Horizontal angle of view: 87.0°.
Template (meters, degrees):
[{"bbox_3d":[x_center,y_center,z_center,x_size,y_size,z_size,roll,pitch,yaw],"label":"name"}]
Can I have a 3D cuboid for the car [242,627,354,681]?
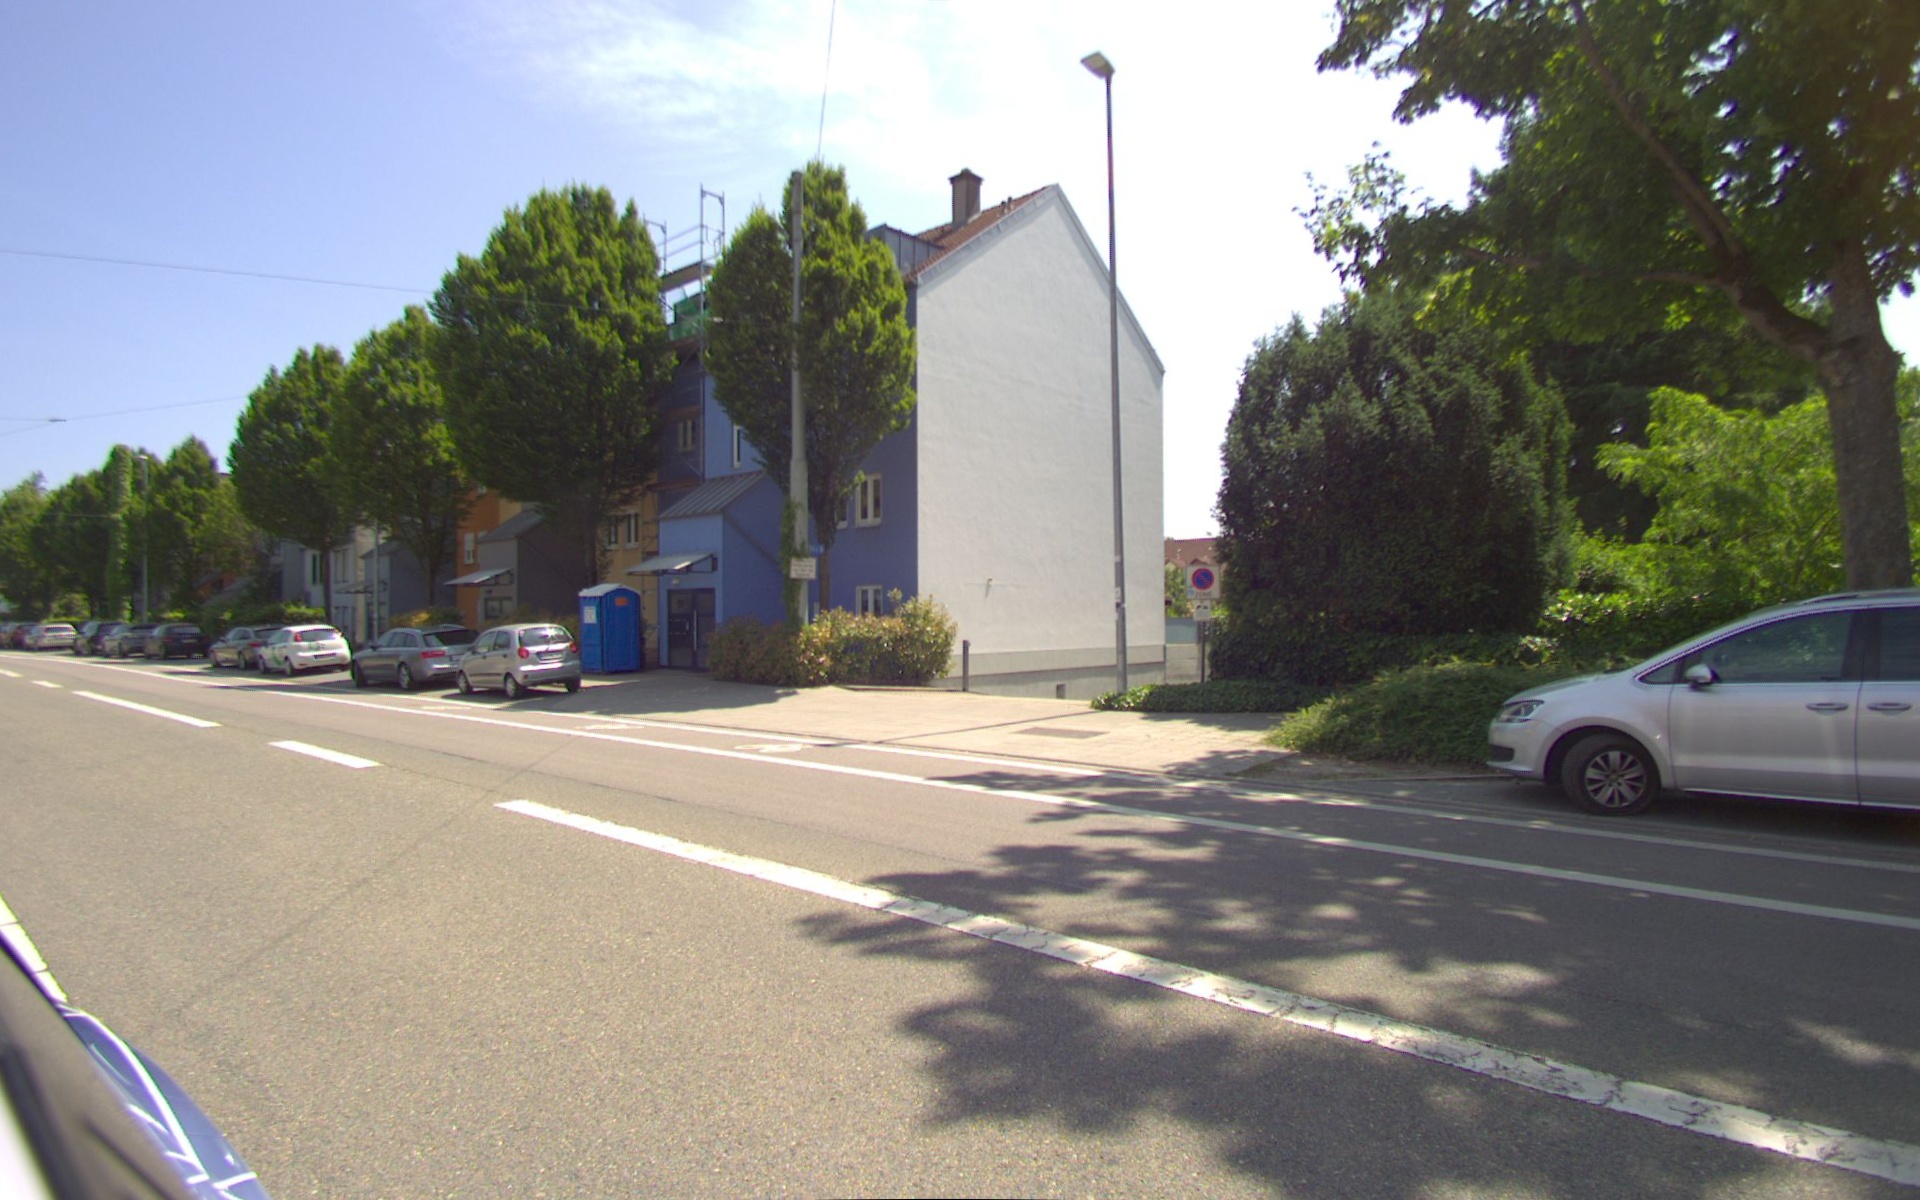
[{"bbox_3d":[-21.030,1.661,32.091,4.417,1.453,1.729,-2,3,41],"label":"car"}]

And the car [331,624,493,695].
[{"bbox_3d":[-13.812,1.458,25.365,5.129,1.461,1.769,-2,2,40],"label":"car"}]

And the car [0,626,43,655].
[{"bbox_3d":[-56.028,2.408,60.072,3.673,1.606,1.586,-2,0,35],"label":"car"}]

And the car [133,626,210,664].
[{"bbox_3d":[-33.475,1.893,42.925,4.254,1.443,1.732,-1,1,40],"label":"car"}]

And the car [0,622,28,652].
[{"bbox_3d":[-60.188,2.332,63.217,4.548,1.808,1.976,-1,-1,35],"label":"car"}]

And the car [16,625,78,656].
[{"bbox_3d":[-51.172,2.272,56.703,4.490,1.594,1.823,-2,0,38],"label":"car"}]

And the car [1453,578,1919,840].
[{"bbox_3d":[6.470,0.710,7.454,4.778,1.677,1.853,-2,-1,41],"label":"car"}]

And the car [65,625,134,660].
[{"bbox_3d":[-42.278,2.080,49.704,4.142,1.601,1.750,-2,0,38],"label":"car"}]

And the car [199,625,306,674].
[{"bbox_3d":[-24.901,1.710,35.552,4.744,1.440,1.688,-2,3,38],"label":"car"}]

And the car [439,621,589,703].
[{"bbox_3d":[-9.696,1.289,21.924,3.447,1.506,1.577,-2,3,41],"label":"car"}]

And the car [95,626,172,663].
[{"bbox_3d":[-37.697,1.997,46.115,4.752,1.507,1.807,-2,0,39],"label":"car"}]
